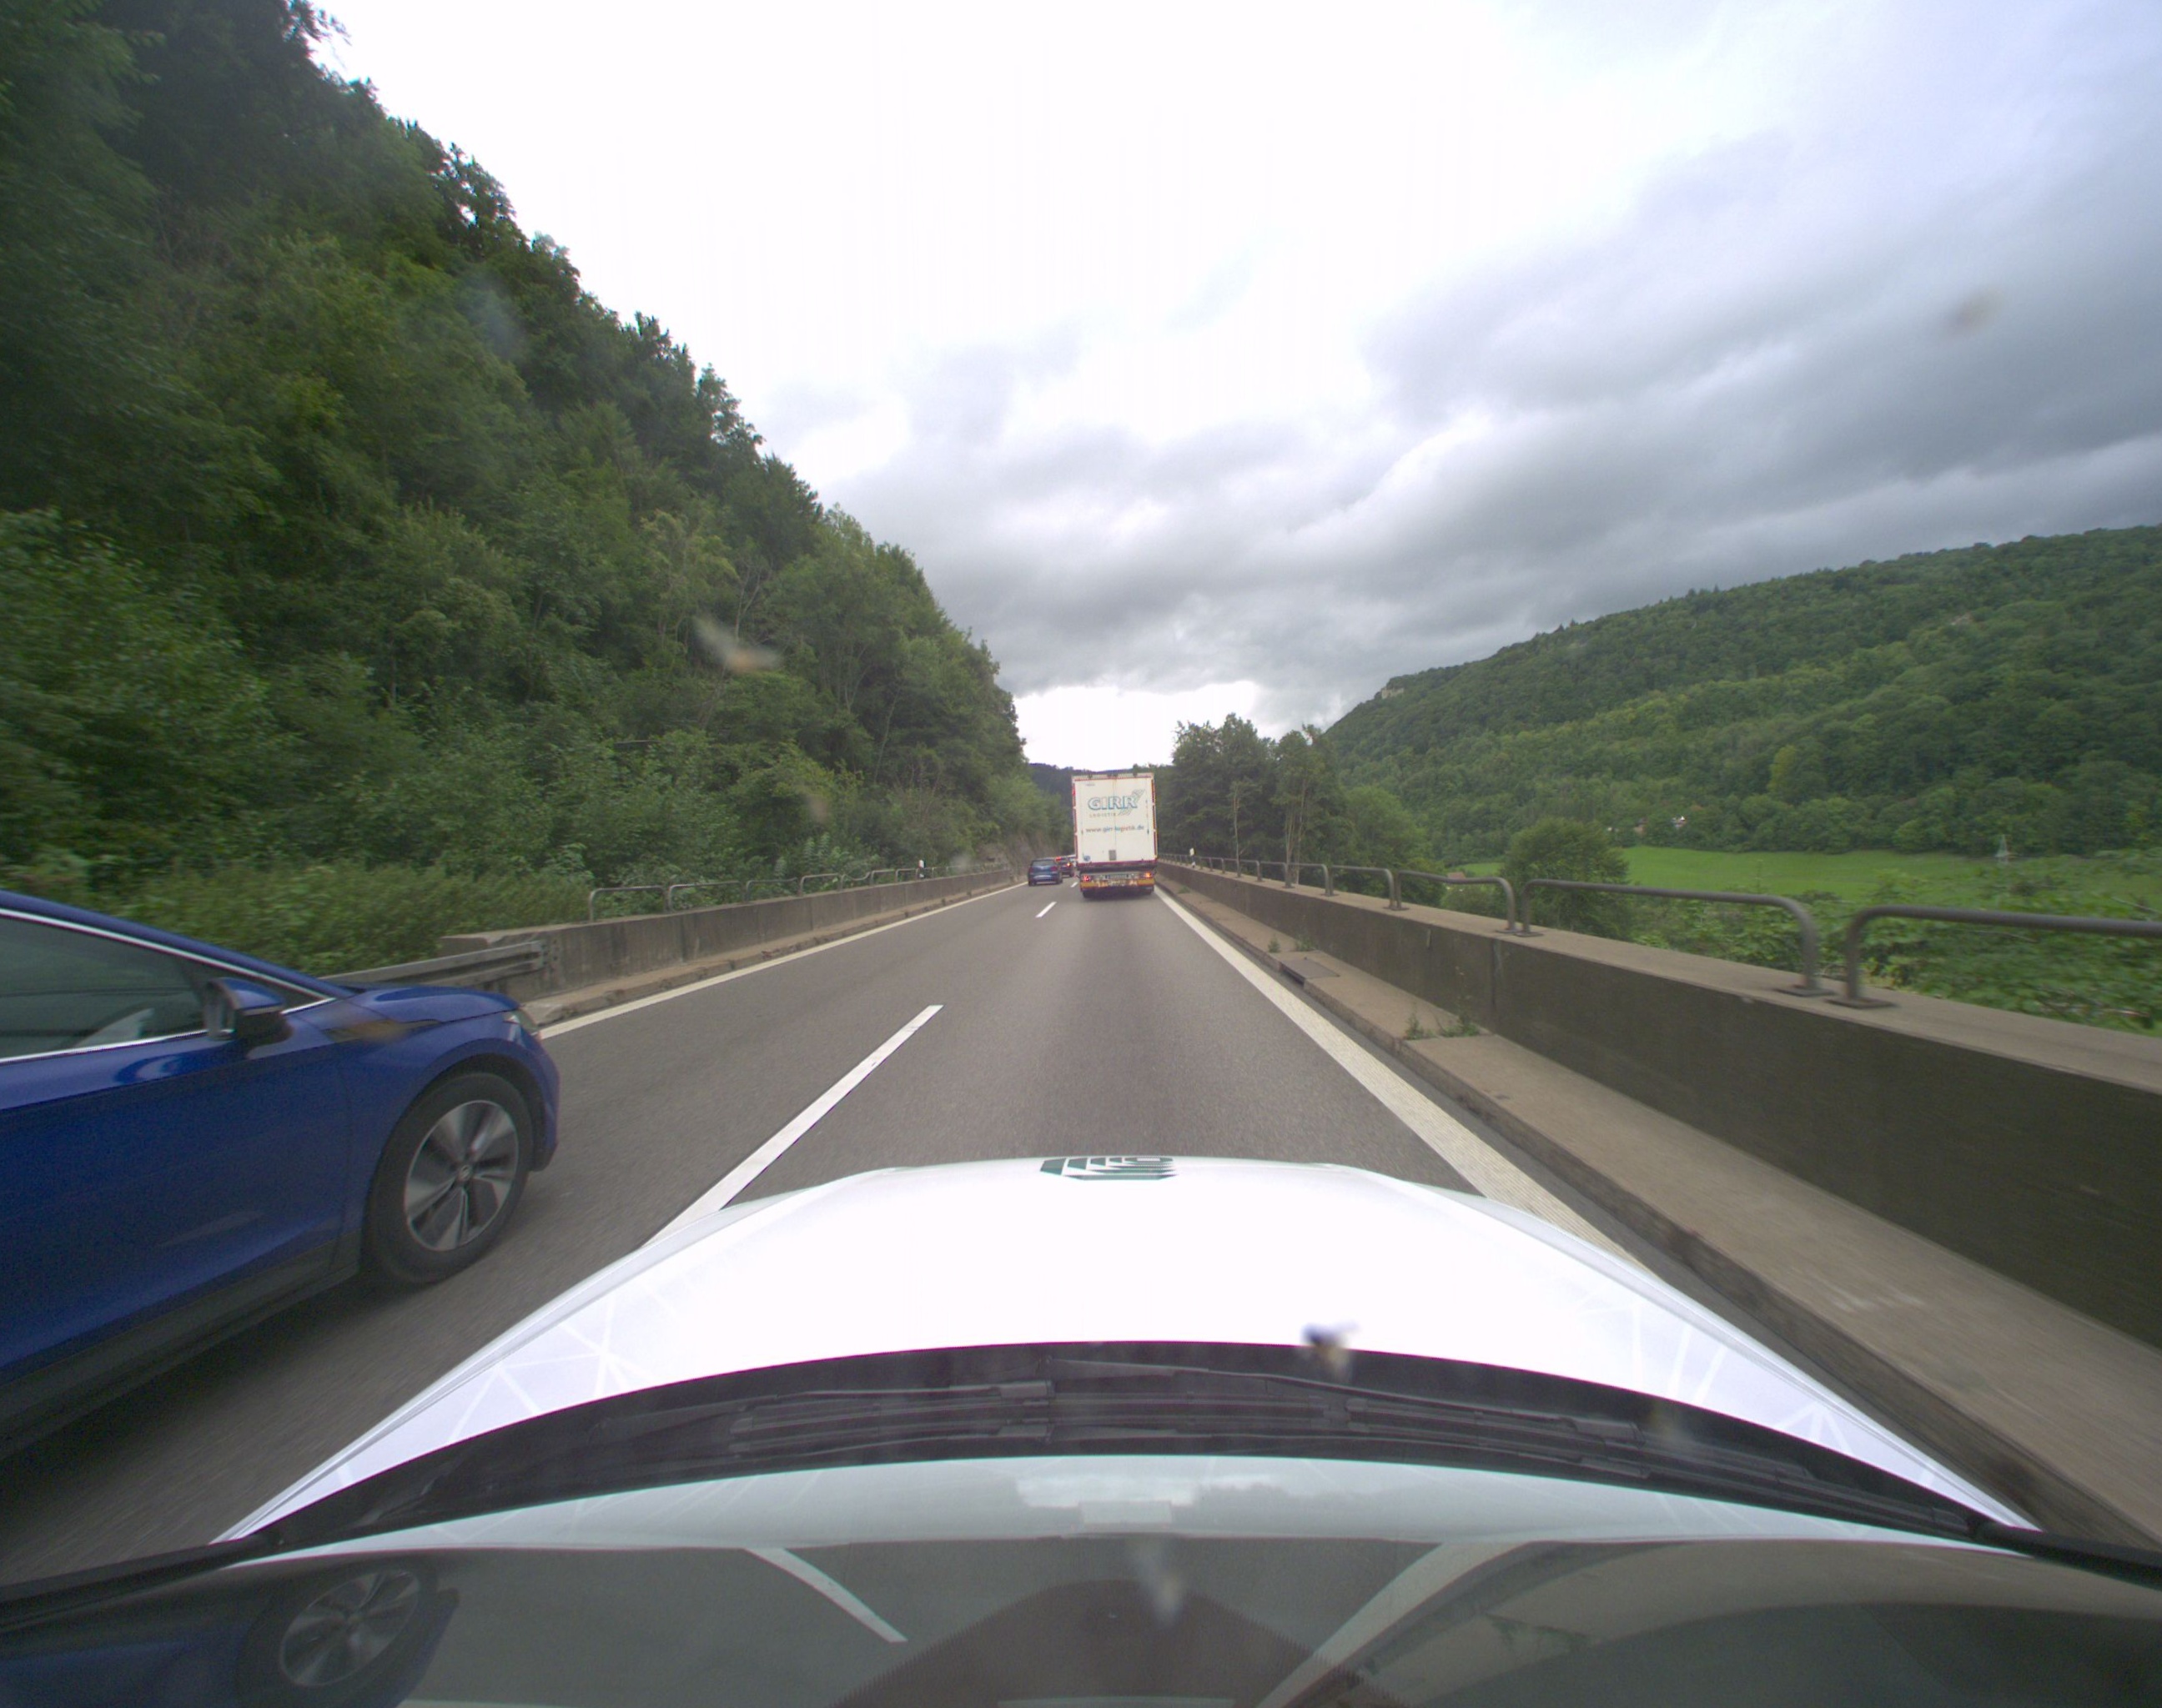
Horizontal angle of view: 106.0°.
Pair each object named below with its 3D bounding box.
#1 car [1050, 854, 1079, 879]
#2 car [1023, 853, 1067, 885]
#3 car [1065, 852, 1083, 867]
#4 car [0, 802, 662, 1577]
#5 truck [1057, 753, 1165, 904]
[{"bbox_3d":[-1.090,0.822,55.742,1.739,1.587,4.001,-2,0,1],"label":"car"},{"bbox_3d":[-1.878,0.761,43.787,1.986,1.596,4.356,-1,0,2],"label":"car"},{"bbox_3d":[-0.705,0.600,83.536,1.739,1.486,4.001,-1,-1,1],"label":"car"},{"bbox_3d":[-3.292,0.735,1.722,1.985,1.632,5.012,-2,0,3],"label":"car"},{"bbox_3d":[1.165,-0.839,32.662,3.073,4.463,15.162,-4,0,2],"label":"truck"}]
